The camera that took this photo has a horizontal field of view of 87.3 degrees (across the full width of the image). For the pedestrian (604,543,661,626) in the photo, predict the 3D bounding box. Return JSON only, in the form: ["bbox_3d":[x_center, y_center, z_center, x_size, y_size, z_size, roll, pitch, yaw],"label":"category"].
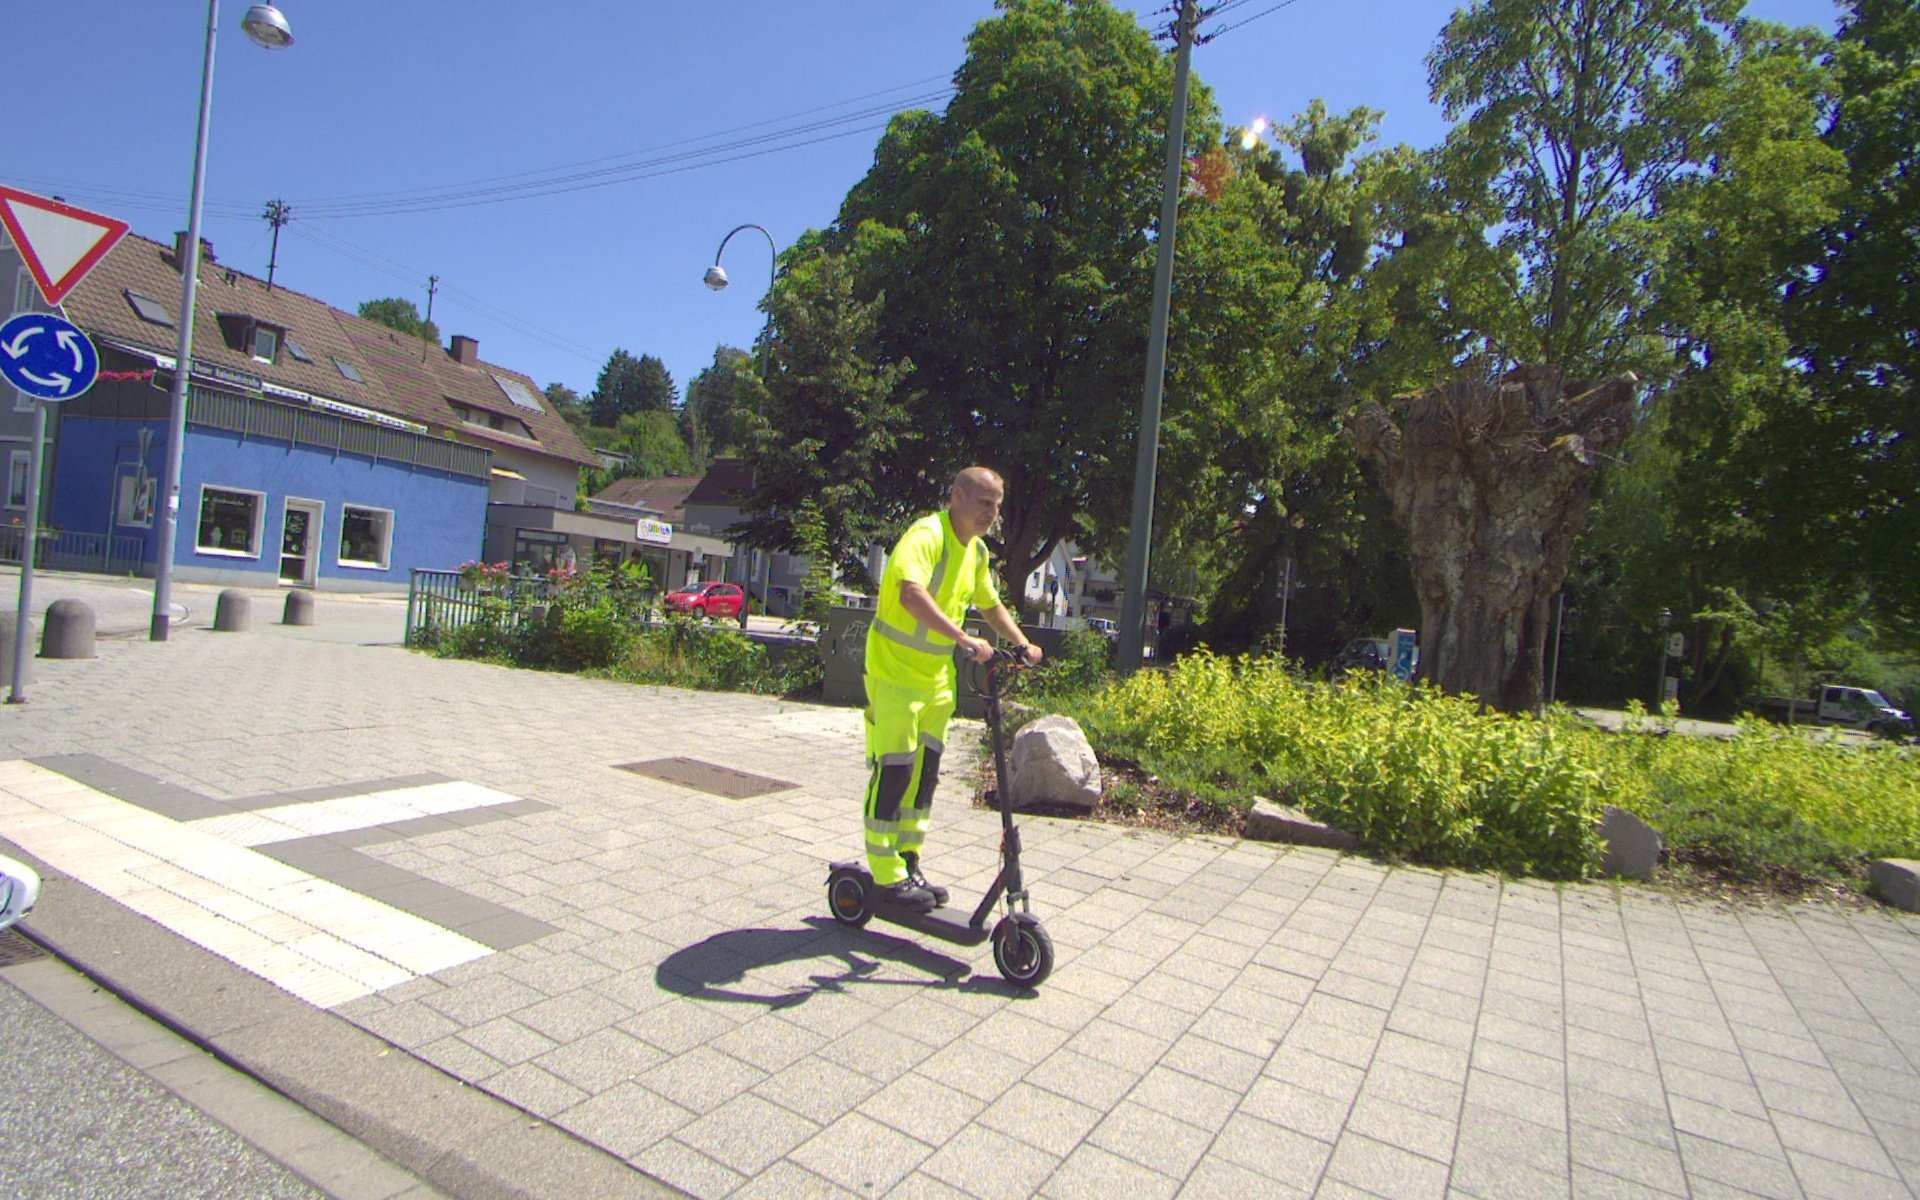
[{"bbox_3d":[-6.932,-0.318,21.299,0.734,1.652,0.717,6,1,24],"label":"pedestrian"}]

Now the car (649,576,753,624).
[{"bbox_3d":[-9.953,0.030,38.855,1.747,1.571,3.672,4,-1,29],"label":"car"}]

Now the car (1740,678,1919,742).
[{"bbox_3d":[43.652,5.441,50.467,2.168,2.267,6.717,5,0,-28],"label":"car"}]

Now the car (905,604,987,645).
[{"bbox_3d":[-0.597,1.187,46.945,1.780,1.566,4.255,7,0,29],"label":"car"}]

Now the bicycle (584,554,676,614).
[{"bbox_3d":[-6.947,-0.320,21.272,0.733,1.097,1.848,5,0,24],"label":"bicycle"}]

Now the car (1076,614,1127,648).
[{"bbox_3d":[9.077,1.984,64.196,1.733,1.899,4.223,6,0,28],"label":"car"}]

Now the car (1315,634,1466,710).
[{"bbox_3d":[10.698,1.755,25.307,1.644,1.471,3.756,5,0,-9],"label":"car"}]

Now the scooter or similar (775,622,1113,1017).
[{"bbox_3d":[-0.105,0.767,3.990,1.224,1.238,0.527,6,1,43],"label":"scooter or similar"}]

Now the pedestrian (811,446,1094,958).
[{"bbox_3d":[-0.037,0.360,4.053,0.676,1.824,0.729,3,3,-45],"label":"pedestrian"}]
